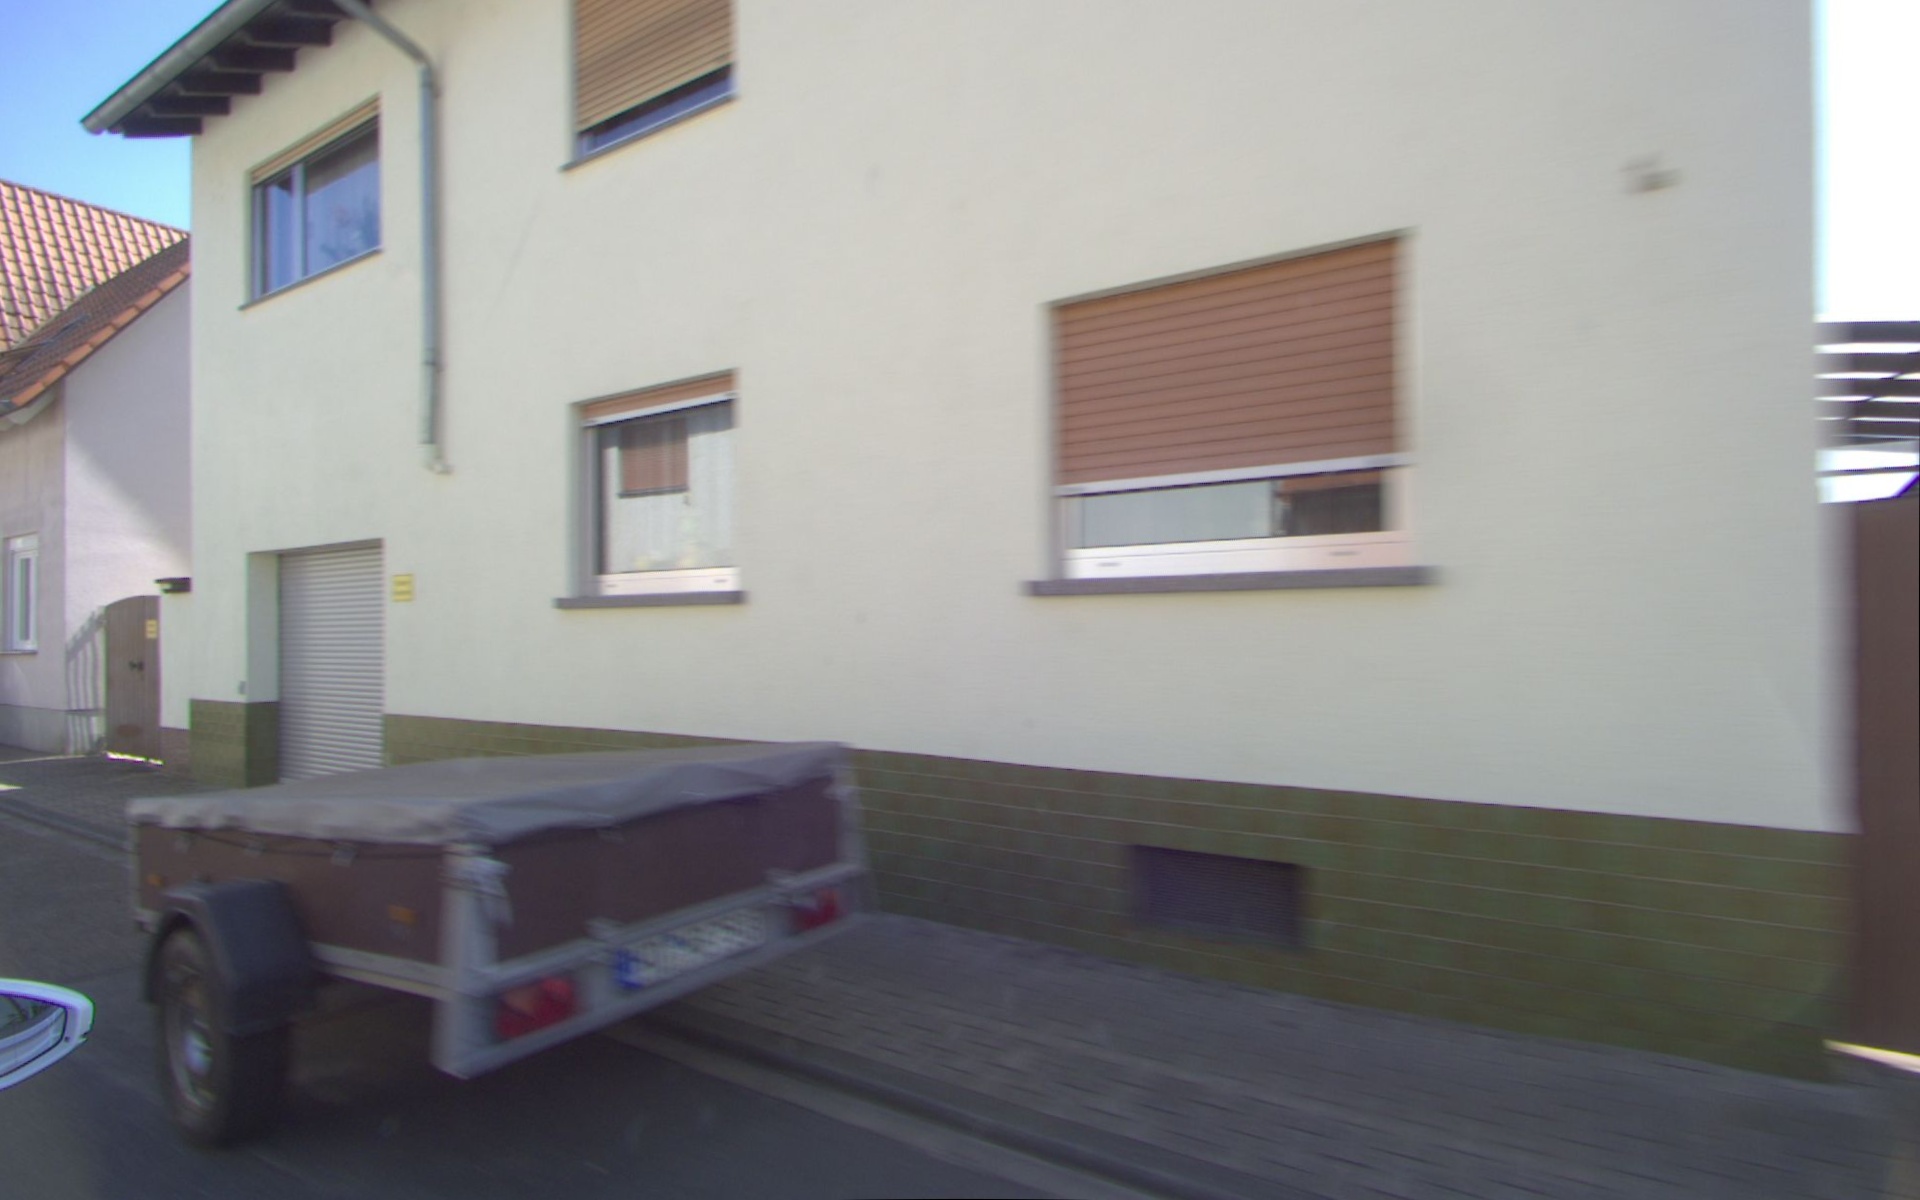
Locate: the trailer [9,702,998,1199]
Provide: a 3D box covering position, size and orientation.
[{"bbox_3d":[-1.785,1.052,3.646,3.434,1.104,1.812,-1,-2,35],"label":"trailer"}]
